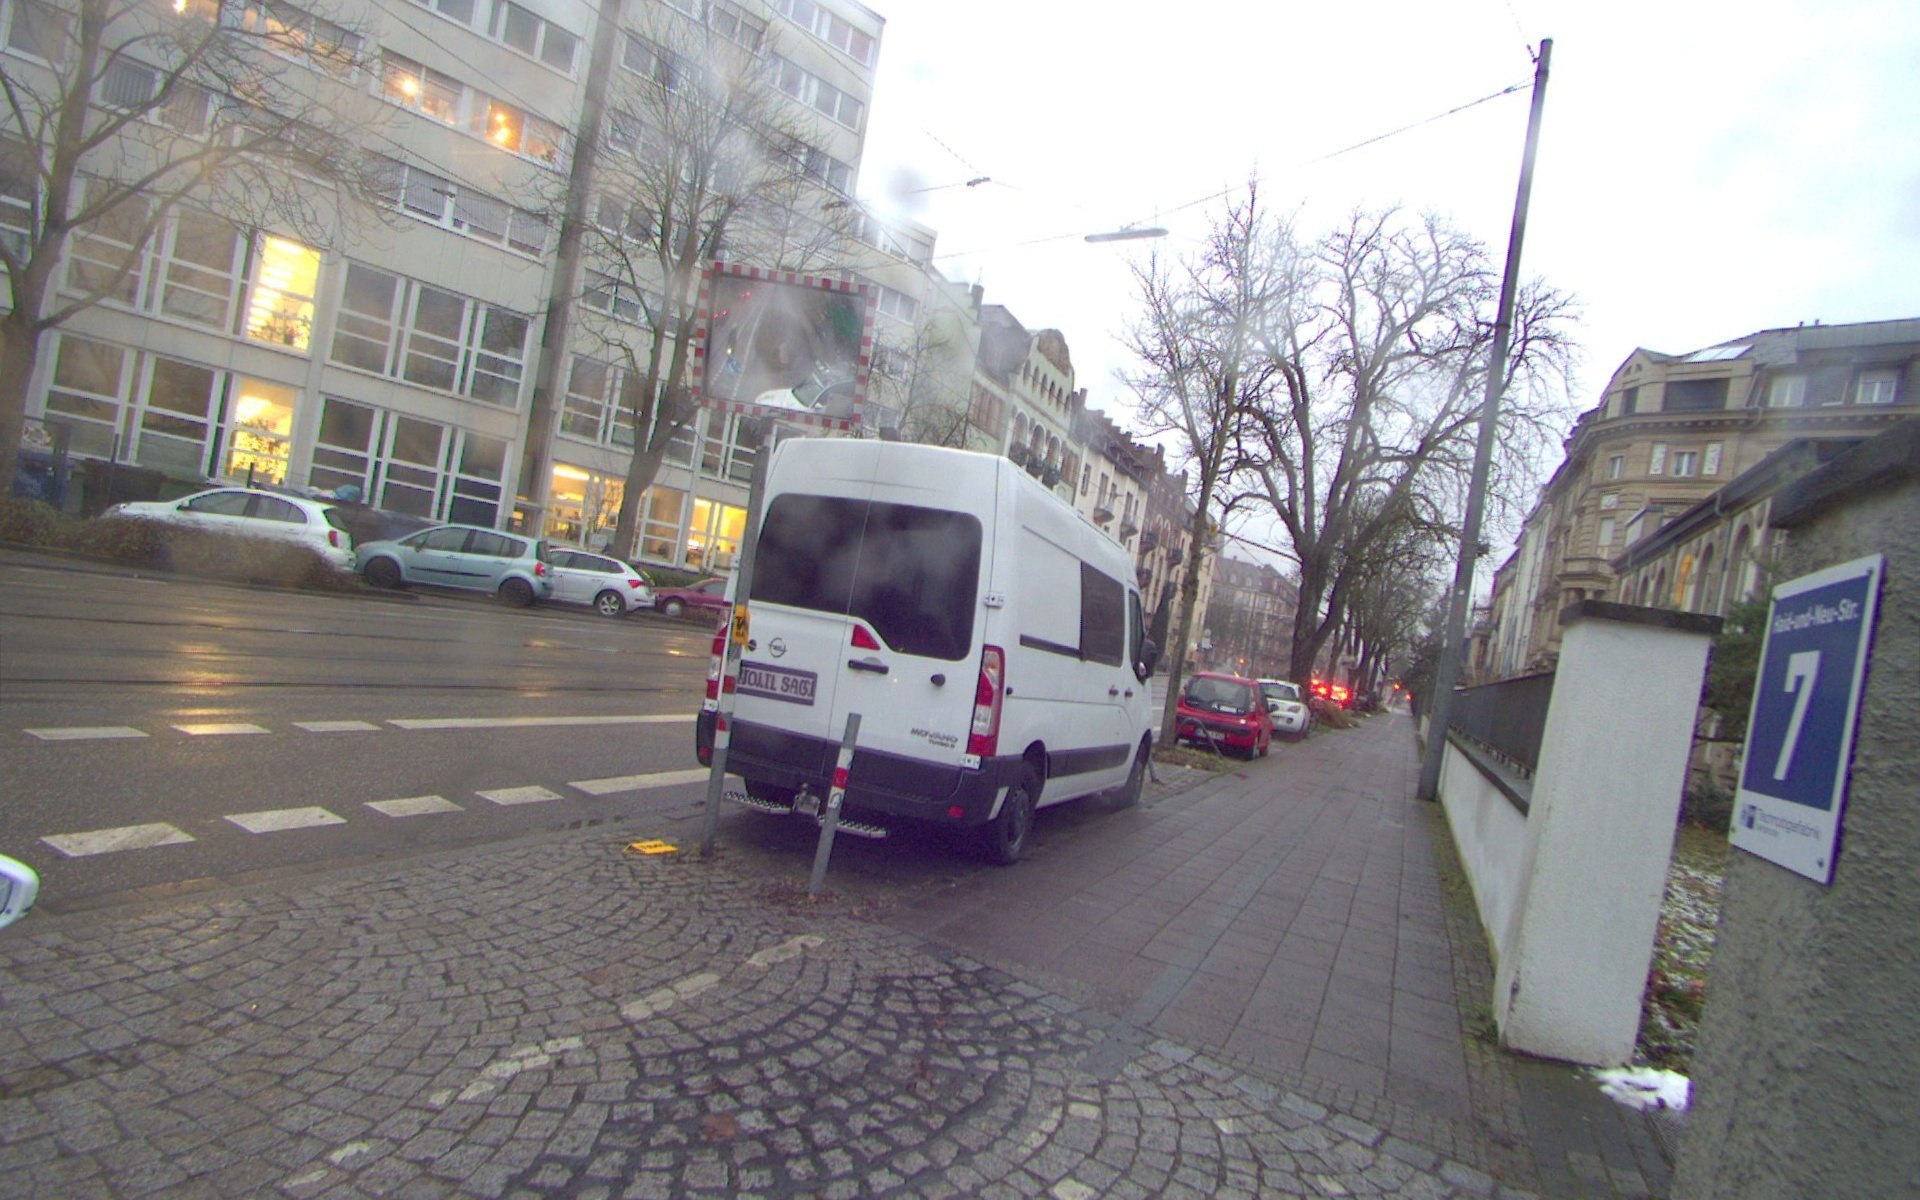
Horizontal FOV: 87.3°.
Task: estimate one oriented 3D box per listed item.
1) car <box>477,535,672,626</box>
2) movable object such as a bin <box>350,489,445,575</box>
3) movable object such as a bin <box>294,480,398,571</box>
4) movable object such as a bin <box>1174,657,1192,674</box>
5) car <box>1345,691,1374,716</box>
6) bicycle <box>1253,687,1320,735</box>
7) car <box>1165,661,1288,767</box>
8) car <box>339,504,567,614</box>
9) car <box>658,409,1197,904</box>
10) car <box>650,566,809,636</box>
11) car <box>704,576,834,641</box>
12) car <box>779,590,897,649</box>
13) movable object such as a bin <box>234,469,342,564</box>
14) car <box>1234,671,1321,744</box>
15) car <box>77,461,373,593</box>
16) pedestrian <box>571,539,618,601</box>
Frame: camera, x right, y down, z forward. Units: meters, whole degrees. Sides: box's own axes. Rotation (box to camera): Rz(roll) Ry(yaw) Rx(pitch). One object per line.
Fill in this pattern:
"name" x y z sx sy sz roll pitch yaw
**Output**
"car" -9.166 -0.441 24.208 3.934 1.460 1.735 10 -1 -8
"movable object such as a bin" -14.490 -1.732 25.937 1.547 1.883 1.316 9 1 26
"movable object such as a bin" -15.076 -1.814 24.721 1.547 1.883 1.392 9 1 26
"movable object such as a bin" 23.486 6.871 105.834 1.388 1.549 1.364 9 0 25
"car" 28.405 7.322 71.477 1.652 1.477 4.043 9 -1 24
"bicycle" 9.604 3.240 29.606 1.688 1.084 0.663 9 1 25
"car" 5.200 2.117 19.323 1.618 1.541 3.573 10 0 22
"car" -10.691 -0.847 21.528 3.943 1.582 1.730 10 0 -17
"car" 0.297 0.421 8.219 2.092 2.516 5.439 8 -1 22
"car" -6.942 0.024 30.301 4.294 1.367 1.740 10 -1 -23
"car" -6.242 0.288 33.082 3.935 1.480 1.734 10 -1 -10
"car" -4.401 0.714 36.202 3.802 1.440 1.728 10 0 -21
"movable object such as a bin" -15.657 -1.926 23.453 1.547 1.883 1.316 9 1 26
"car" 8.598 2.837 27.084 1.666 1.537 3.637 9 -1 24
"car" -13.014 -1.254 18.103 3.825 1.570 1.685 10 0 -20
"pedestrian" -10.960 -0.903 30.147 0.588 1.697 0.973 9 1 25
